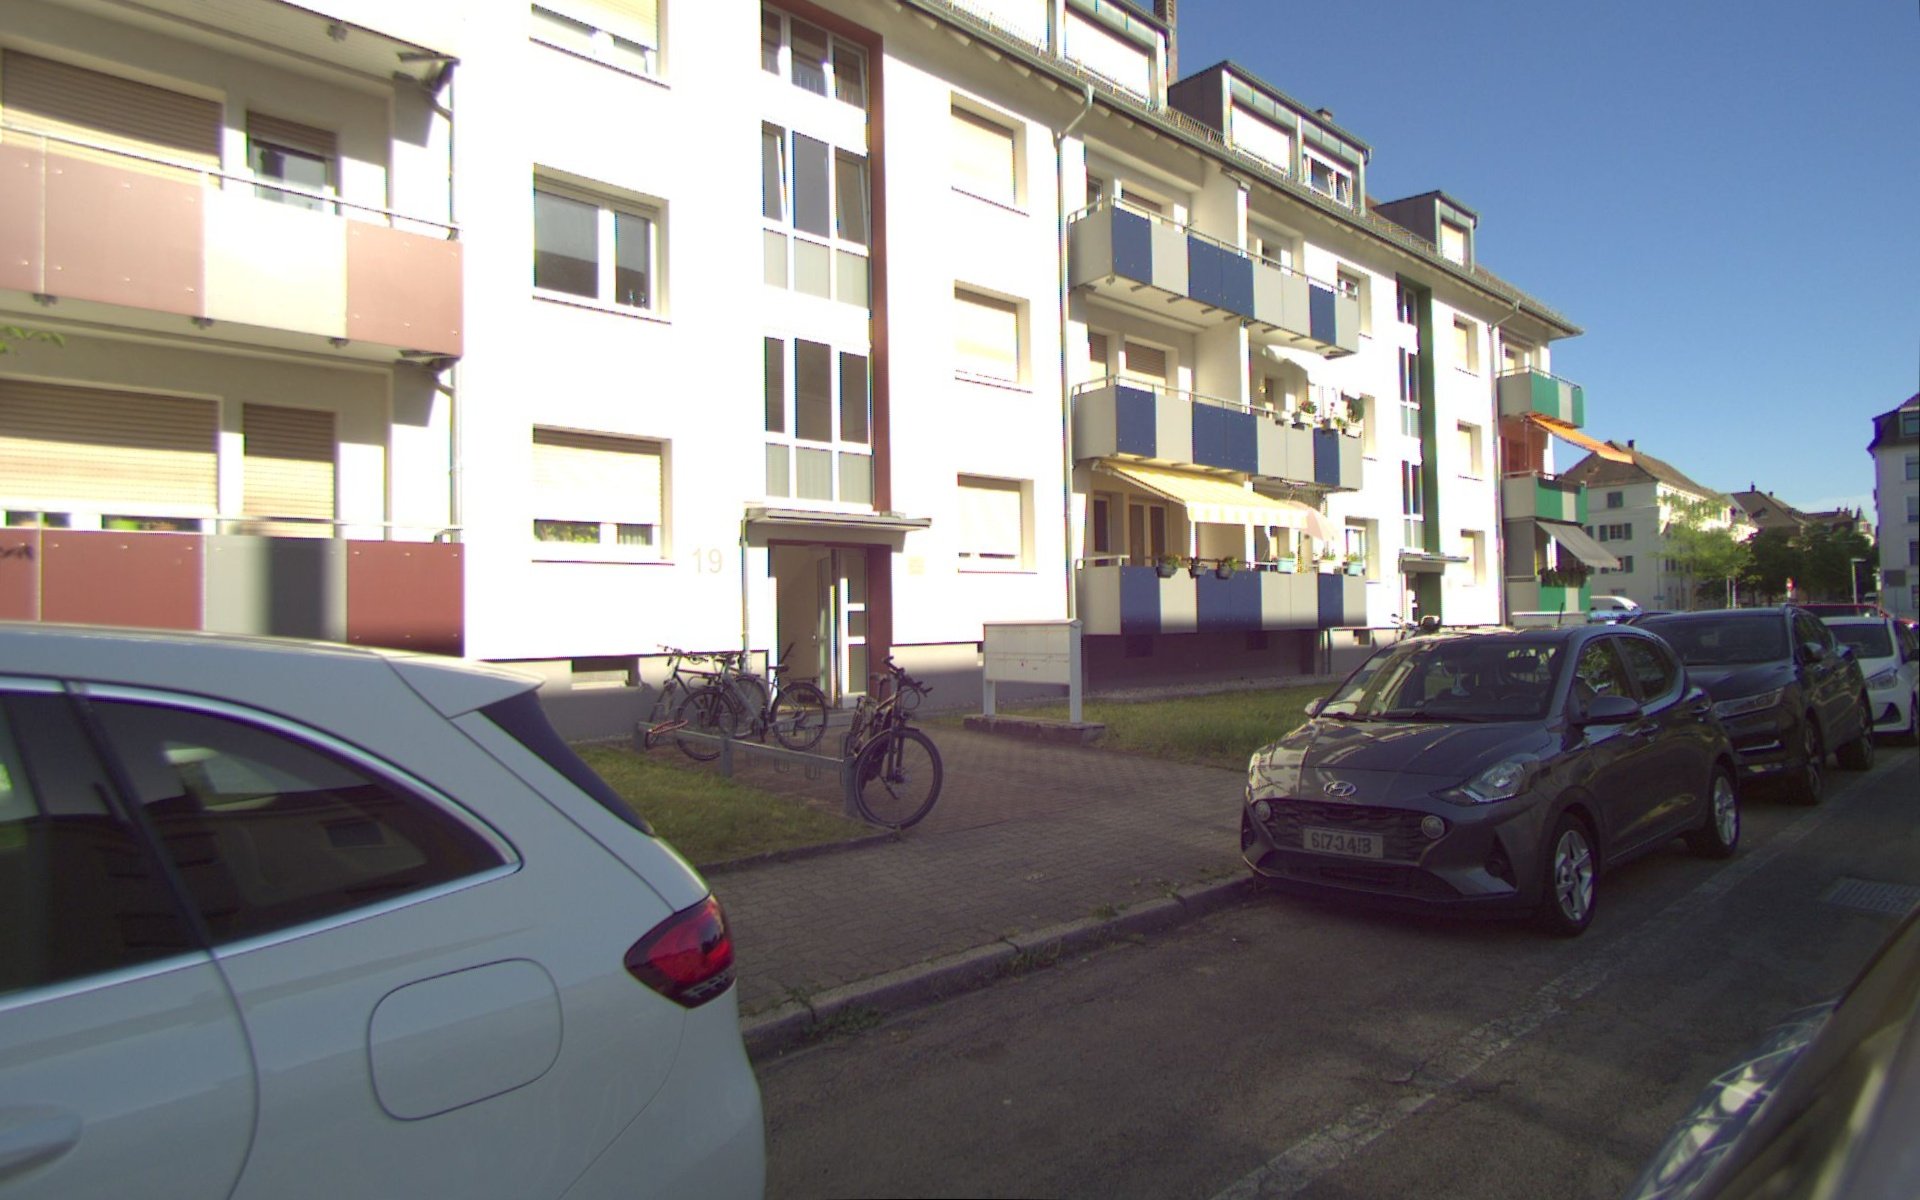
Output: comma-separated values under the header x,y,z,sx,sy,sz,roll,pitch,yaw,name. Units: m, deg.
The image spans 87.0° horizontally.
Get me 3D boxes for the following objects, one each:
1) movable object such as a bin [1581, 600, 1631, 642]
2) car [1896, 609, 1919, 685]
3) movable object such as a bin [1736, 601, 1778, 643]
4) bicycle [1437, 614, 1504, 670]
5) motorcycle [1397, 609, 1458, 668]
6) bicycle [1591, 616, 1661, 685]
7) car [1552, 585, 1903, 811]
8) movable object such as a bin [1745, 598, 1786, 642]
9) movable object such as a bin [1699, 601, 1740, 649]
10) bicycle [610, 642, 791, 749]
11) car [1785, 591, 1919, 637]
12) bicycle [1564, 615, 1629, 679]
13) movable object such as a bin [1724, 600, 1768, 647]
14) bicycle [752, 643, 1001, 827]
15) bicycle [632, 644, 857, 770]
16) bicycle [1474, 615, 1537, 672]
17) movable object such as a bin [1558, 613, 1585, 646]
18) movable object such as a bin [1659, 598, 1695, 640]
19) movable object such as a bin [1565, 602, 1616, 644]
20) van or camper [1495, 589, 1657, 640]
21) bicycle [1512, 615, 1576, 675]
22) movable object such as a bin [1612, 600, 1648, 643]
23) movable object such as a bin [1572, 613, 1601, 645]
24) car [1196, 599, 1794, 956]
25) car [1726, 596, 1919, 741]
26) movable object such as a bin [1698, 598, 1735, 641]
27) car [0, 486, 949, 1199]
x,y,z,sx,sy,sz,roll,pitch,yaw,name
23.328,0.764,36.545,1.257,1.466,1.237,0,-2,-43,movable object such as a bin
20.209,0.846,20.242,4.027,1.437,1.692,0,-4,-42,car
25.975,0.700,32.989,0.852,1.342,0.920,0,-2,-42,movable object such as a bin
10.855,0.868,21.489,1.840,1.130,0.597,0,-2,-42,bicycle
10.349,0.831,22.374,1.942,1.254,0.442,0,-1,-41,motorcycle
12.240,0.895,18.574,1.839,1.185,0.545,0,0,-40,bicycle
7.152,0.703,9.256,4.277,1.599,1.725,0,-1,-42,car
26.888,0.669,33.775,0.852,1.416,0.920,0,-2,-42,movable object such as a bin
23.729,0.771,31.612,0.907,1.466,0.864,0,-2,-44,movable object such as a bin
-2.868,1.023,11.340,1.940,1.050,0.521,0,-1,-40,bicycle
41.588,0.676,46.754,1.963,2.040,4.992,0,-2,-37,car
12.340,0.885,19.602,1.840,1.147,0.578,0,-1,-42,bicycle
25.027,0.747,32.217,0.852,1.466,0.920,0,-2,-42,movable object such as a bin
-0.749,0.937,7.911,0.862,1.144,2.432,0,-1,-34,bicycle
-2.123,1.026,10.242,2.247,1.062,0.521,0,0,-40,bicycle
11.276,0.884,20.891,1.840,1.096,0.539,0,0,-42,bicycle
20.852,0.994,34.499,0.570,1.066,0.627,0,1,-43,movable object such as a bin
25.325,0.655,35.730,0.907,1.466,0.864,0,-2,-44,movable object such as a bin
22.233,0.805,35.696,1.257,1.466,1.237,0,-2,-43,movable object such as a bin
32.376,0.766,53.468,2.137,2.532,6.979,0,-1,-38,van or camper
11.755,0.874,20.358,1.840,1.135,0.544,0,-1,-42,bicycle
24.466,0.776,36.952,0.906,1.539,0.865,0,-2,-42,movable object such as a bin
21.523,0.986,34.788,0.570,1.066,0.717,0,1,-42,movable object such as a bin
3.410,0.794,6.150,3.986,1.468,1.650,0,-4,-38,car
11.140,0.788,12.606,3.787,1.529,1.715,0,-5,-41,car
26.148,0.673,34.973,0.907,1.466,0.864,0,-2,-44,movable object such as a bin
-2.241,0.696,0.965,4.404,1.524,1.773,0,-3,-43,car
